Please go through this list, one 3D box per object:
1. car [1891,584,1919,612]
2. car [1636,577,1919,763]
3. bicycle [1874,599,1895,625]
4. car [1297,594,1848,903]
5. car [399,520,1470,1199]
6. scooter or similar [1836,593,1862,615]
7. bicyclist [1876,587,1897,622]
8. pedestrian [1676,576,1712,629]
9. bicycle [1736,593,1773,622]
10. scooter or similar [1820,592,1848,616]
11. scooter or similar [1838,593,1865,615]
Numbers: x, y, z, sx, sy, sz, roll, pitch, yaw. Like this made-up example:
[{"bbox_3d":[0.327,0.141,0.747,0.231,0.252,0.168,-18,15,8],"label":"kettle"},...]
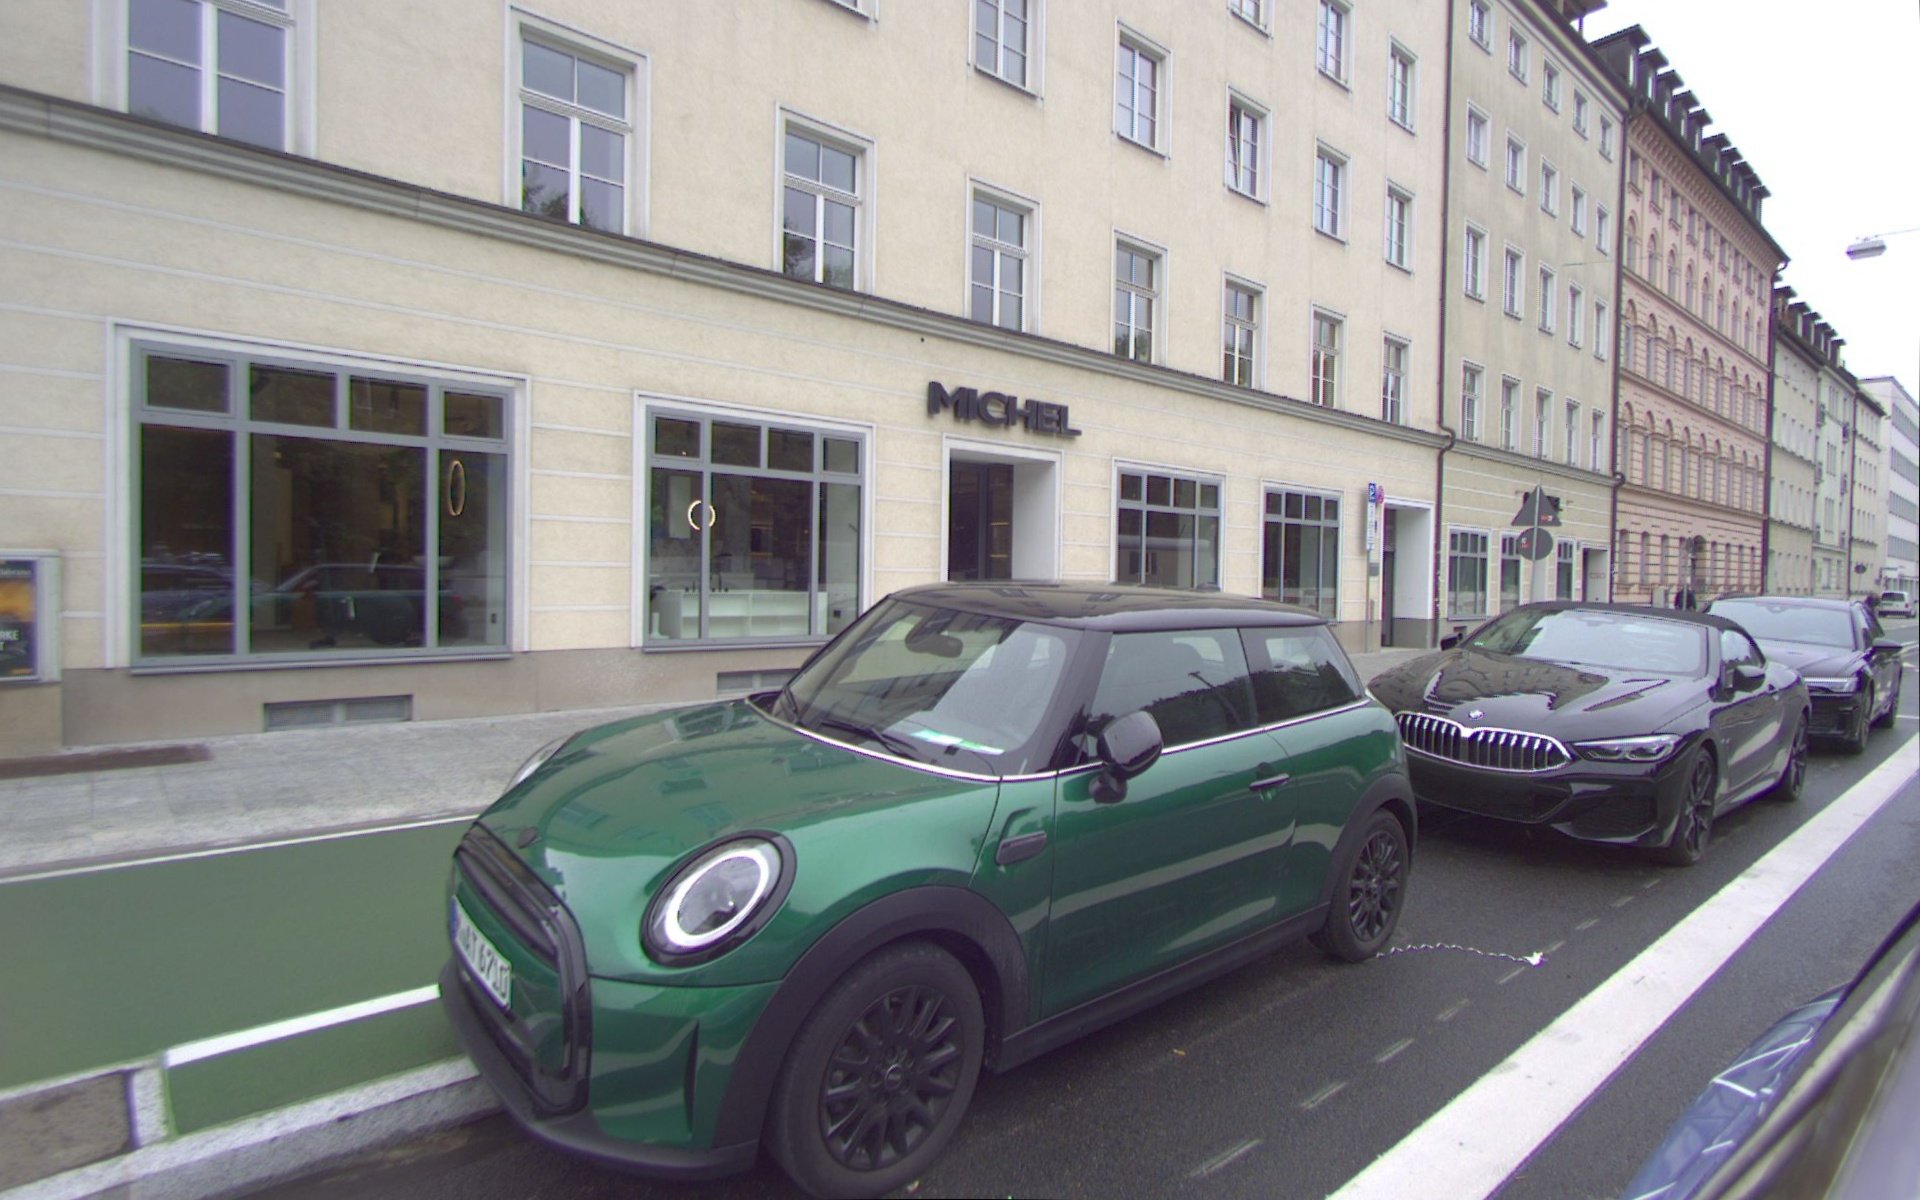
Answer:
[{"bbox_3d":[64.582,-0.158,68.637,3.931,1.855,1.764,0,1,-42],"label":"car"},{"bbox_3d":[9.085,0.592,11.017,4.386,1.498,1.812,0,5,-43],"label":"car"},{"bbox_3d":[40.050,0.511,43.849,0.630,1.050,1.987,2,2,42],"label":"bicycle"},{"bbox_3d":[4.387,0.679,6.894,4.636,1.425,1.829,0,0,-40],"label":"car"},{"bbox_3d":[0.203,0.608,3.750,3.761,1.540,1.678,0,0,-40],"label":"car"},{"bbox_3d":[51.814,0.232,58.985,1.059,1.207,0.436,1,1,10],"label":"scooter or similar"},{"bbox_3d":[40.118,0.203,43.809,0.630,1.486,0.643,2,1,42],"label":"bicyclist"},{"bbox_3d":[25.242,0.080,34.813,0.819,1.767,0.795,0,1,-40],"label":"pedestrian"},{"bbox_3d":[33.560,0.303,42.744,1.690,1.191,0.558,0,1,-27],"label":"bicycle"},{"bbox_3d":[47.373,0.202,54.840,1.055,1.261,0.554,1,1,-6],"label":"scooter or similar"},{"bbox_3d":[51.007,0.230,57.909,1.063,1.207,0.451,2,1,20],"label":"scooter or similar"}]
